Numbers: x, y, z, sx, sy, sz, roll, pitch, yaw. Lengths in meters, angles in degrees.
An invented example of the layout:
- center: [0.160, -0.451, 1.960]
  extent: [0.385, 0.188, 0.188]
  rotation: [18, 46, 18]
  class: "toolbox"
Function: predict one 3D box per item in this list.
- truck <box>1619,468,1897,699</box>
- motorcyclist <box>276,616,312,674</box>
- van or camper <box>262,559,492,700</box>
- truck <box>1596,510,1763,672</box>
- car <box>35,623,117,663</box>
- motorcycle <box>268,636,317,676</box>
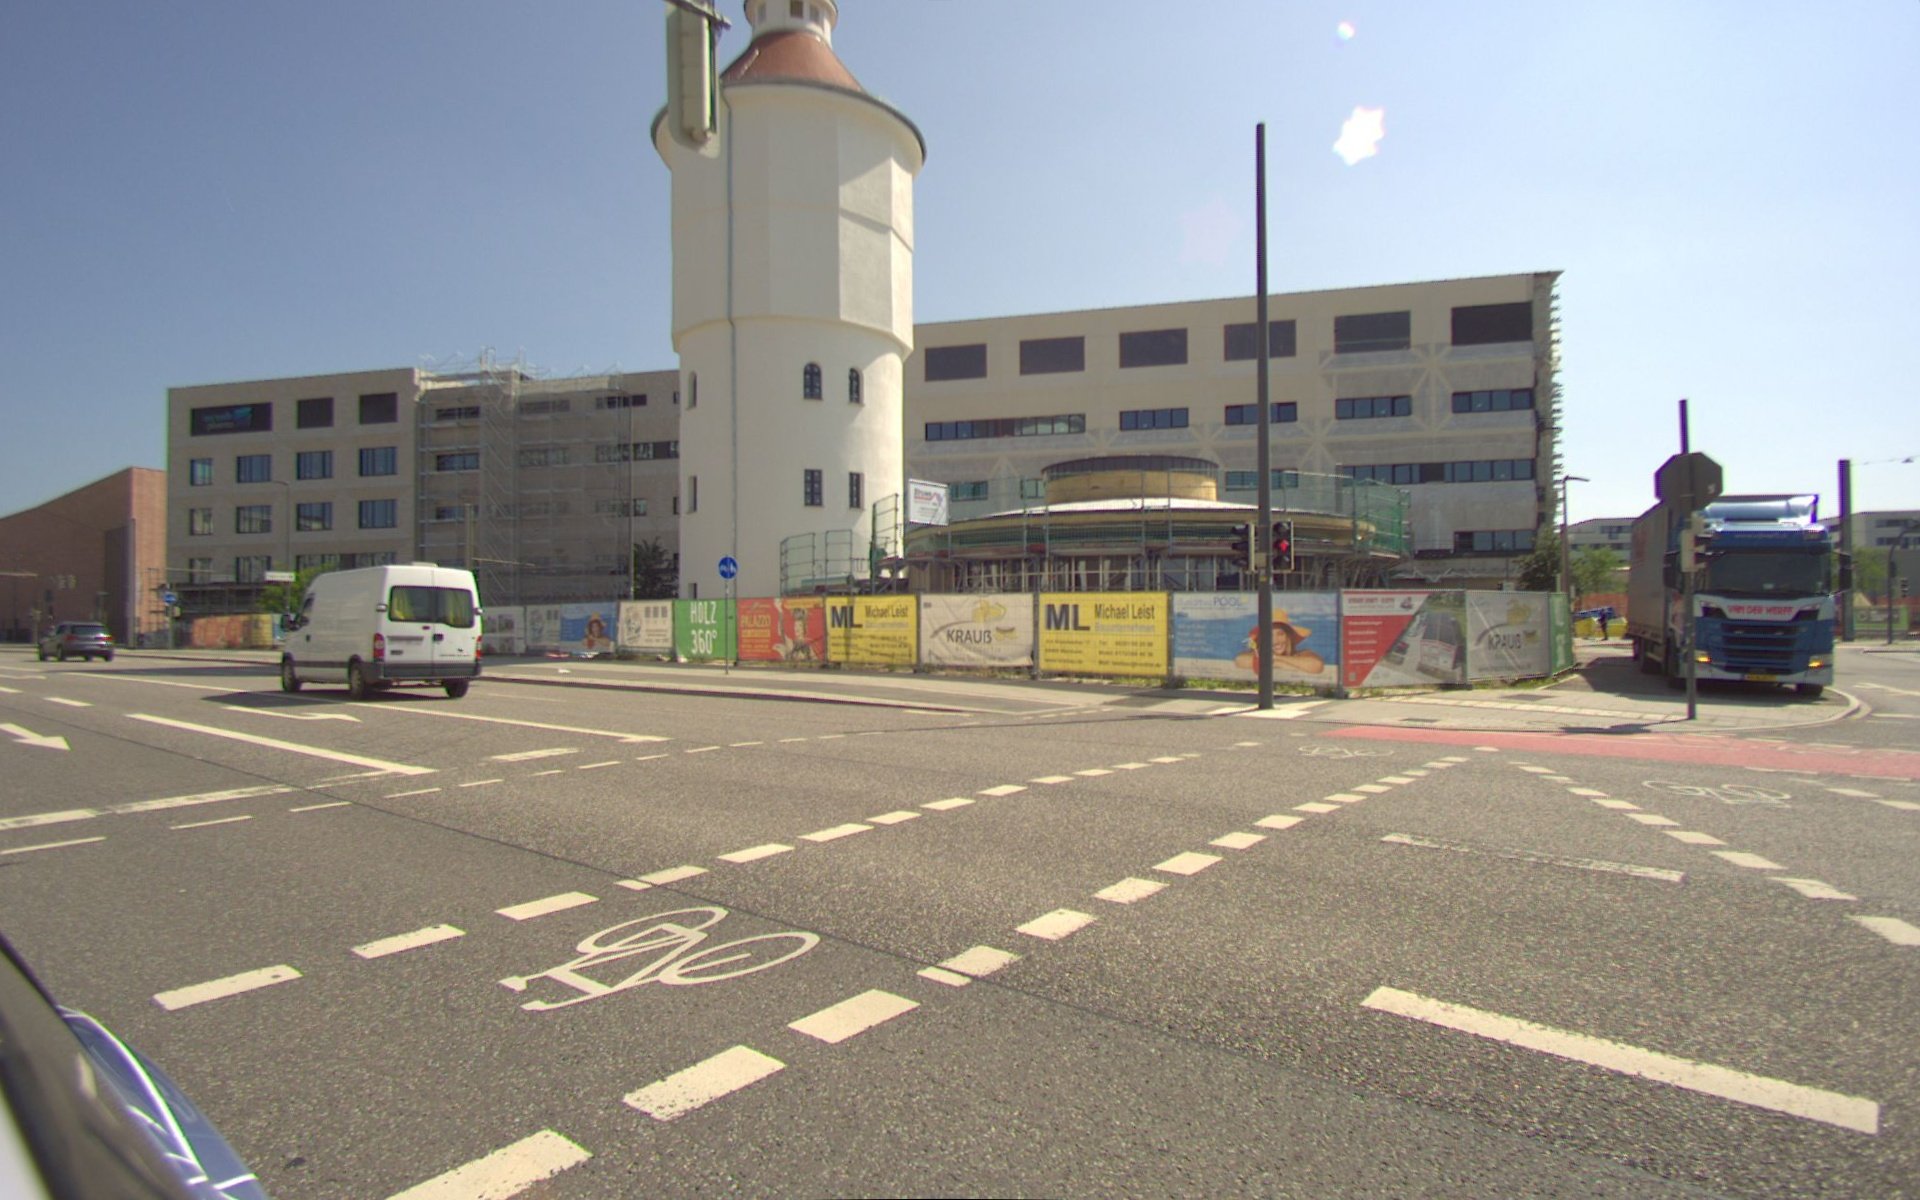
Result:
- center: [17.790, -0.361, 23.523]
  extent: [3.288, 4.098, 10.873]
  rotation: [-1, 1, 29]
  class: "truck"
- center: [-19.547, 1.316, 29.702]
  extent: [0.927, 1.672, 0.613]
  rotation: [-1, -2, 40]
  class: "motorcyclist"
- center: [-11.755, 0.564, 20.212]
  extent: [5.677, 2.432, 2.131]
  rotation: [0, -2, 40]
  class: "van or camper"
- center: [22.676, -0.319, 32.558]
  extent: [3.332, 4.307, 10.838]
  rotation: [-1, 1, 30]
  class: "truck"
- center: [-37.598, 1.805, 43.039]
  extent: [3.964, 1.602, 1.781]
  rotation: [-1, -3, 37]
  class: "car"
- center: [-19.615, 1.637, 29.739]
  extent: [2.213, 1.112, 0.578]
  rotation: [0, -3, 41]
  class: "motorcycle"
